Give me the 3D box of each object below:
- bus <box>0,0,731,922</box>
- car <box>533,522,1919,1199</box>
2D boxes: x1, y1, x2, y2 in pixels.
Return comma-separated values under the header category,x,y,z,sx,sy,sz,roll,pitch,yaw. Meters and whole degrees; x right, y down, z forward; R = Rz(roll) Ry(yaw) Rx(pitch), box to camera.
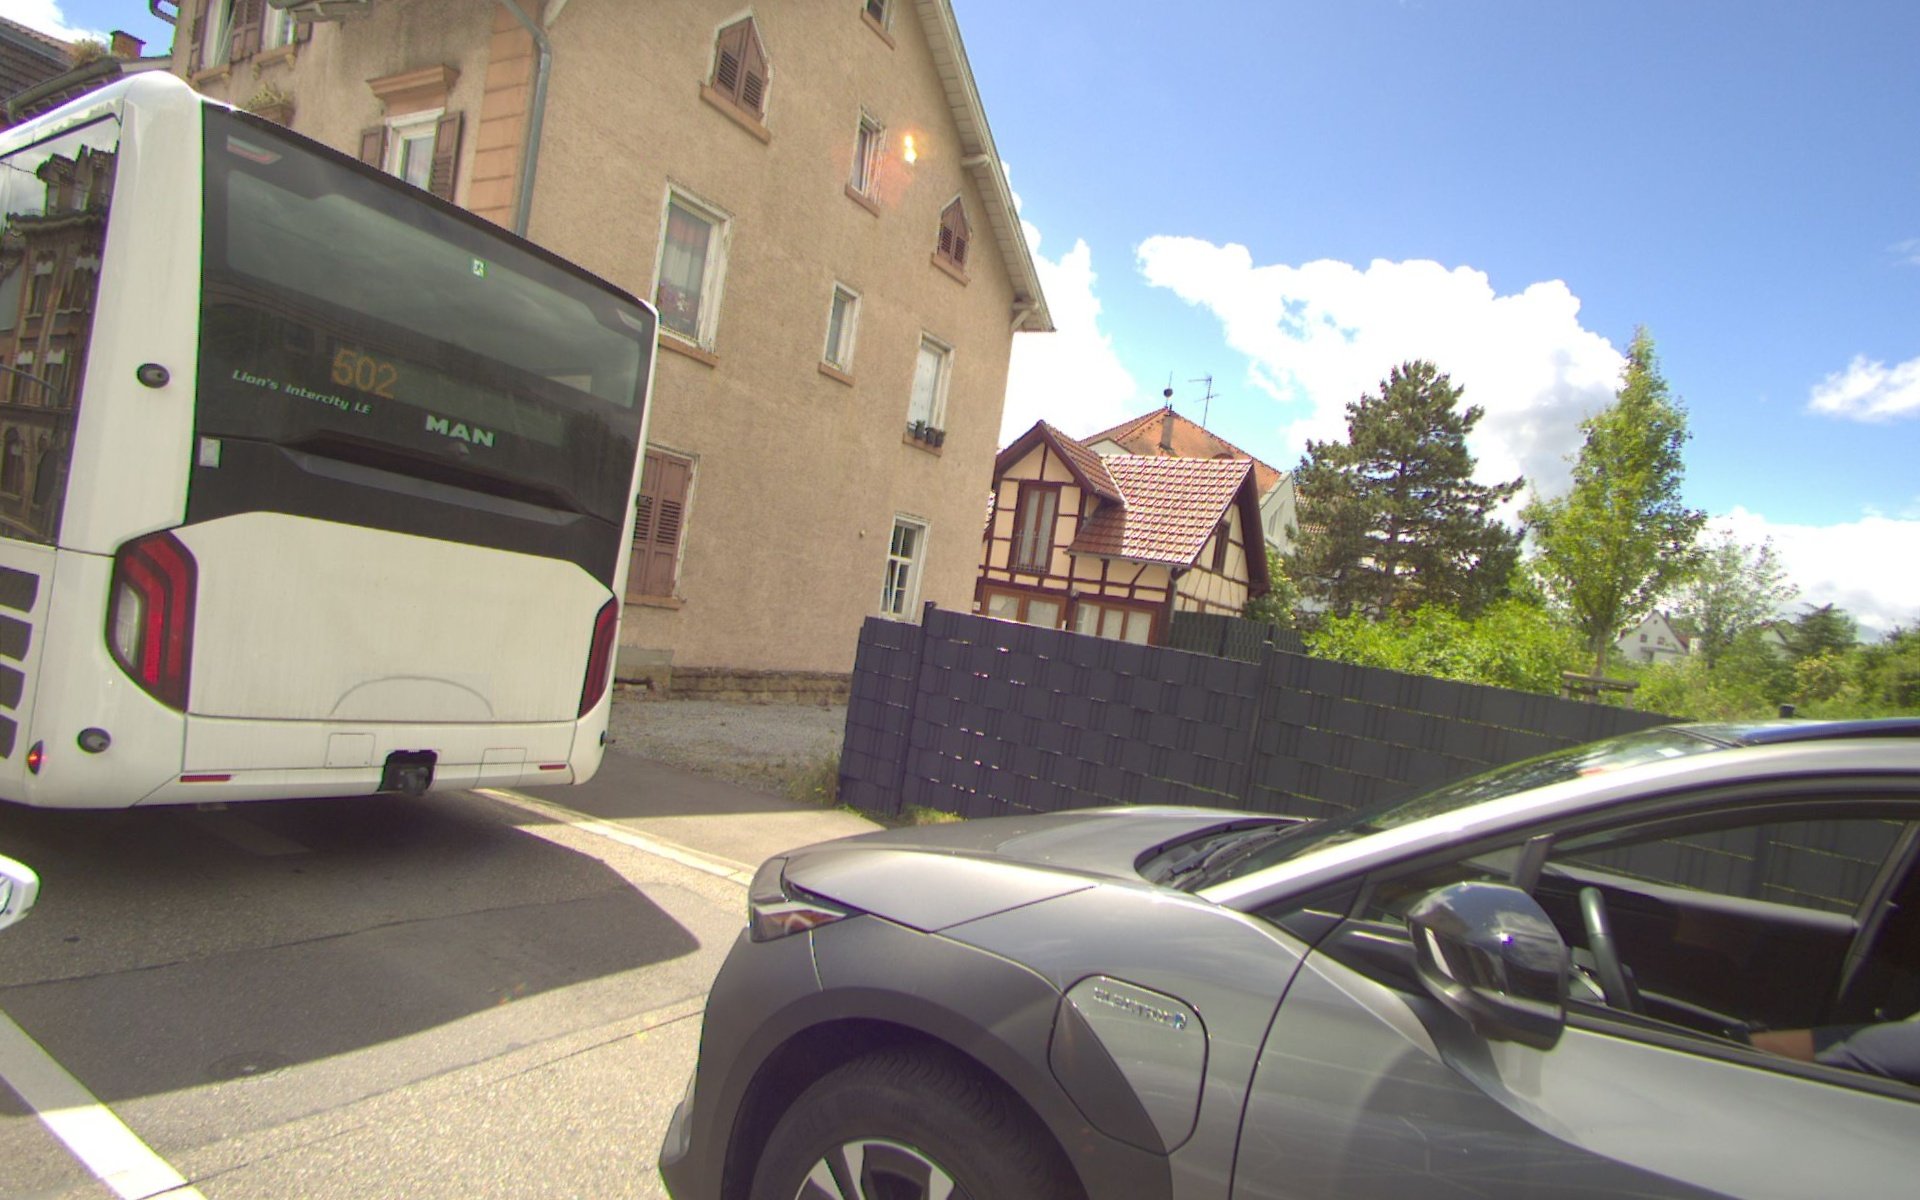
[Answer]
category,x,y,z,sx,sy,sz,roll,pitch,yaw
bus,-7.465,-1.109,7.790,12.281,3.551,2.910,6,-2,32
car,1.571,0.960,1.860,4.504,1.648,1.997,7,-1,31
